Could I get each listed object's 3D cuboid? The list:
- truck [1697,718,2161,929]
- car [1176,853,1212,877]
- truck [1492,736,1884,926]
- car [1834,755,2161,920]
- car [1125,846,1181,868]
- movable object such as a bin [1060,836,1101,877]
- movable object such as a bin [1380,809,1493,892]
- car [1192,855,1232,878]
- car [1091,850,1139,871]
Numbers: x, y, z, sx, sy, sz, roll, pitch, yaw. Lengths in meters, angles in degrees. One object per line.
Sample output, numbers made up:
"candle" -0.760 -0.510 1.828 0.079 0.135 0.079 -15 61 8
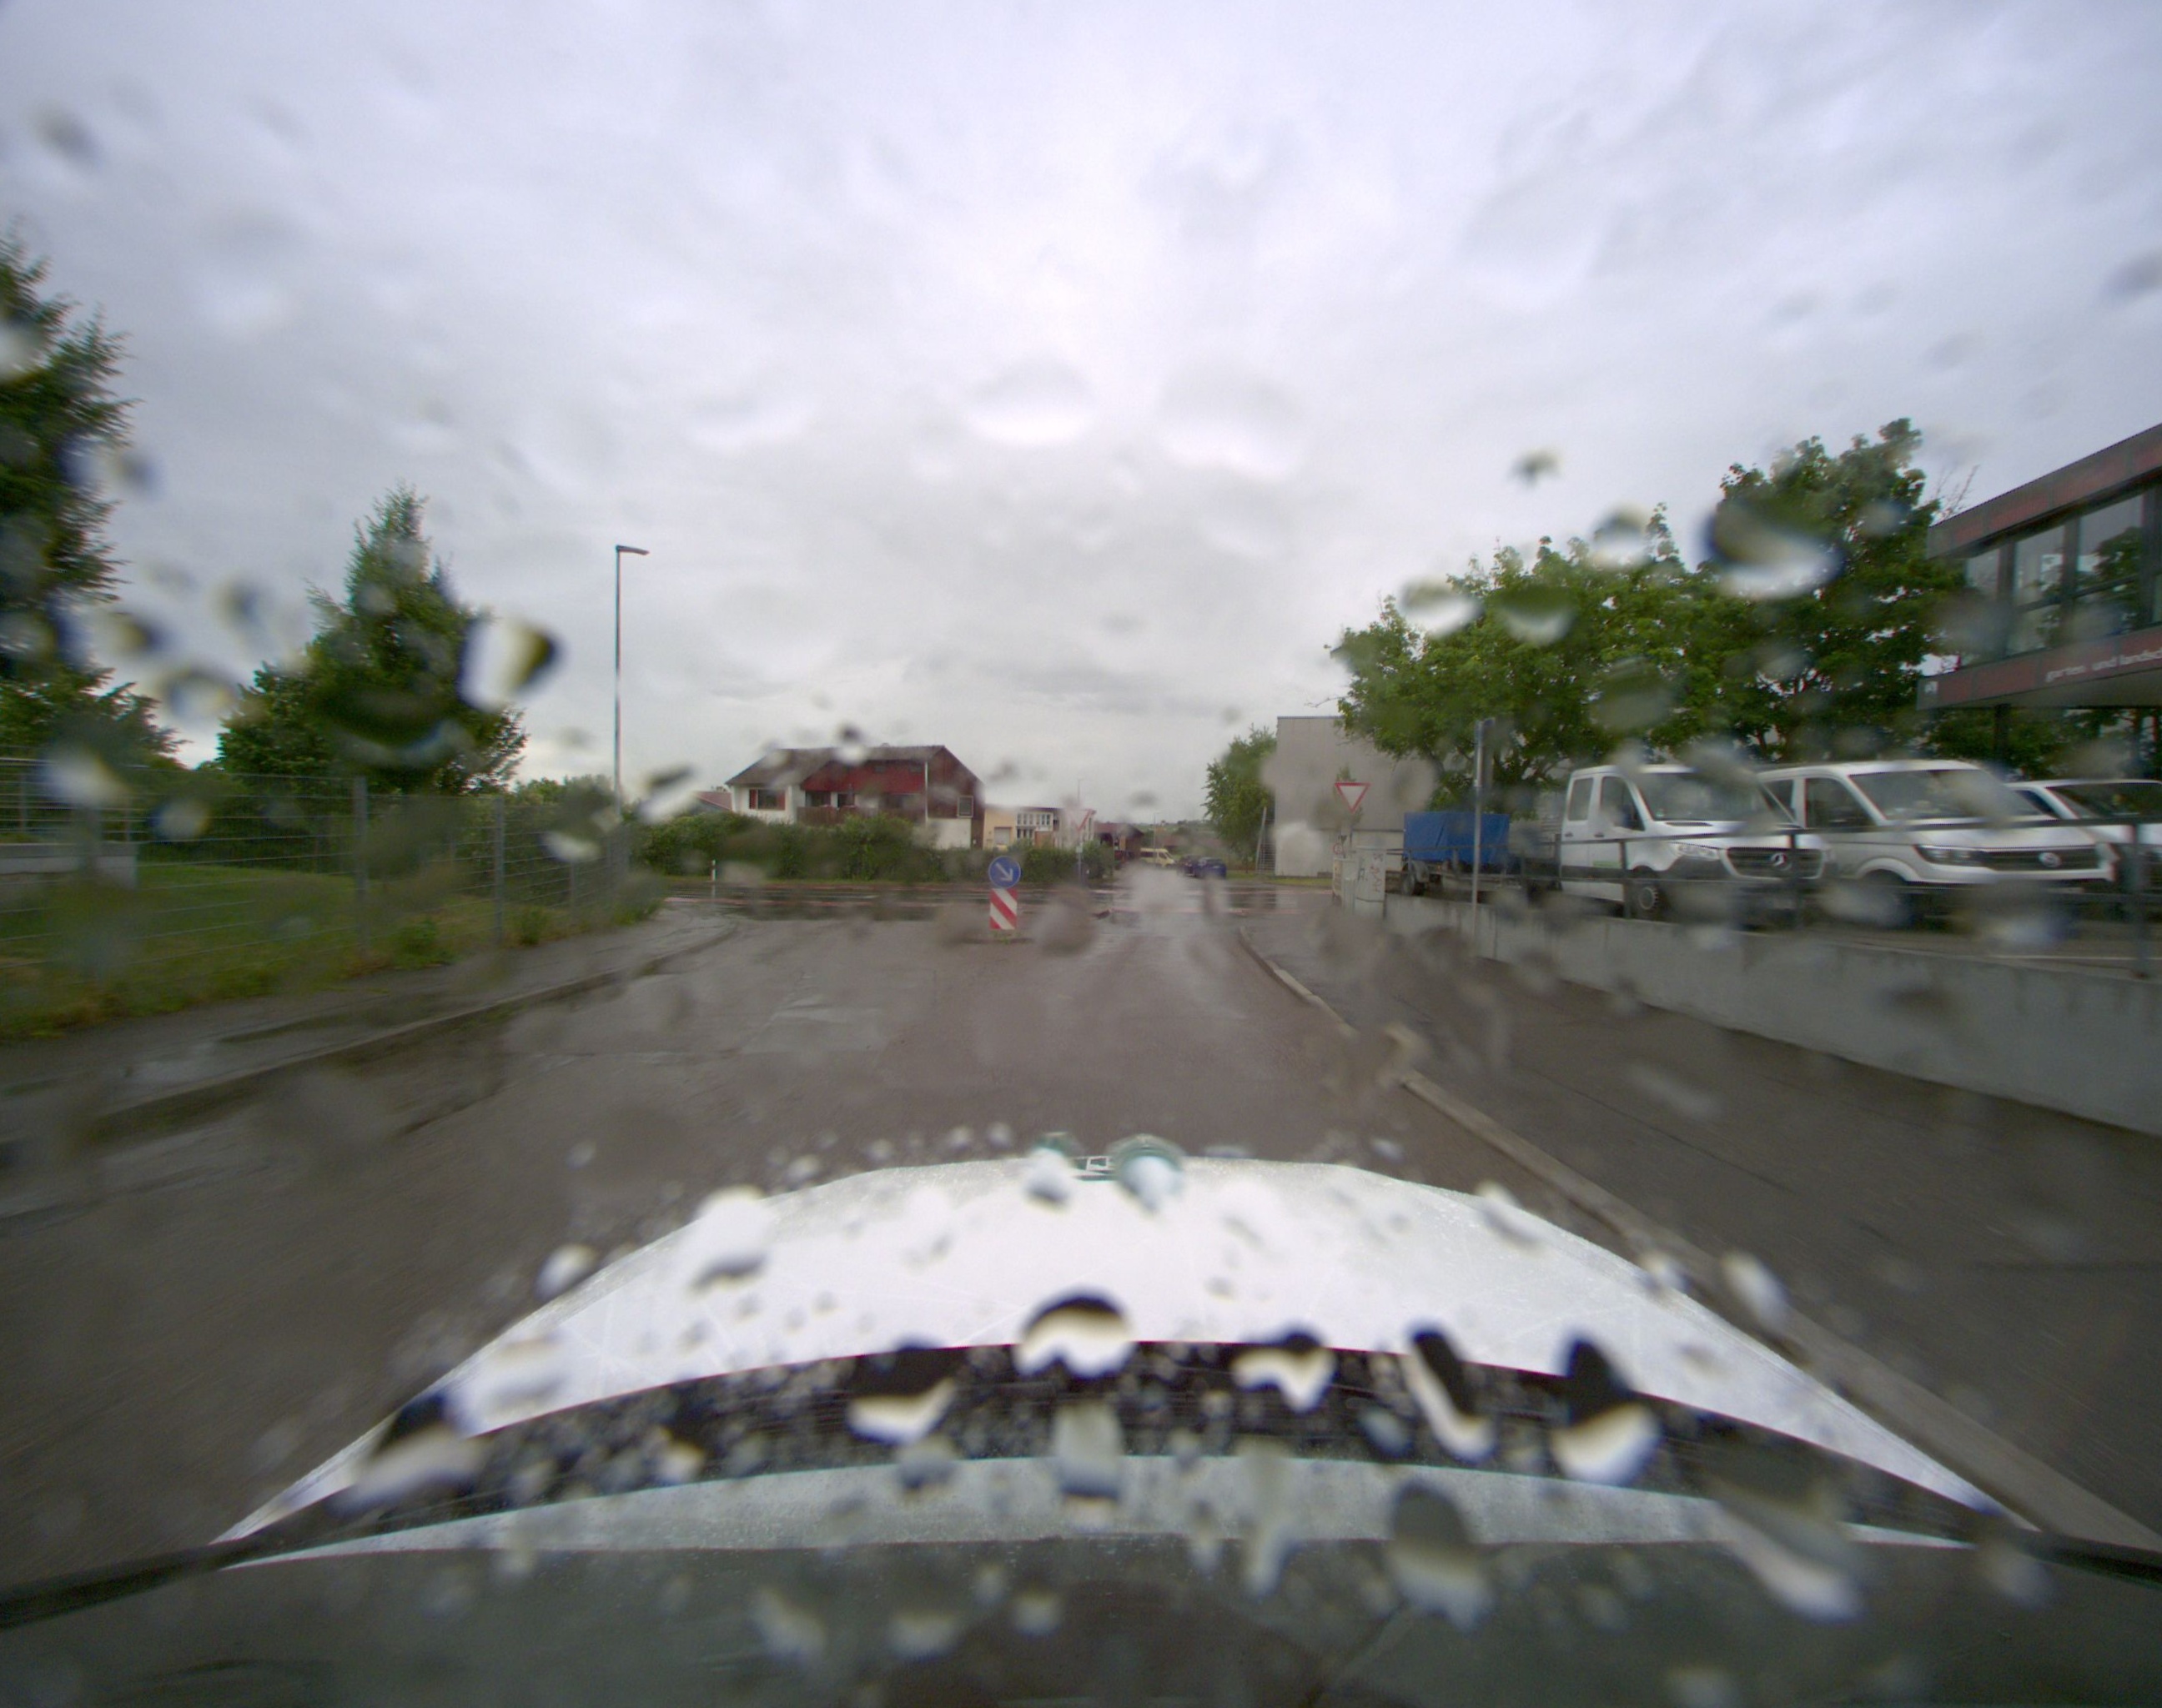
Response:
"truck" 11.433 -0.323 11.528 2.230 2.342 4.846 0 -1 7
"car" 8.961 0.861 64.843 2.069 1.835 4.467 1 -1 -2
"truck" 8.529 -0.259 12.372 2.096 2.214 5.659 0 -1 4
"car" 14.362 -0.173 12.241 2.044 2.014 4.950 0 -1 8
"car" 8.315 0.349 93.827 5.956 2.415 2.476 0 -1 22
"movable object such as a bin" 0.009 0.160 53.299 1.719 2.556 3.354 0 -1 17
"movable object such as a bin" 6.773 -0.057 15.657 1.304 1.500 1.856 1 -1 -4
"car" 9.336 0.896 58.522 1.947 1.610 4.441 1 0 -3
"car" 3.164 0.572 76.559 4.355 1.905 2.012 0 -1 45
